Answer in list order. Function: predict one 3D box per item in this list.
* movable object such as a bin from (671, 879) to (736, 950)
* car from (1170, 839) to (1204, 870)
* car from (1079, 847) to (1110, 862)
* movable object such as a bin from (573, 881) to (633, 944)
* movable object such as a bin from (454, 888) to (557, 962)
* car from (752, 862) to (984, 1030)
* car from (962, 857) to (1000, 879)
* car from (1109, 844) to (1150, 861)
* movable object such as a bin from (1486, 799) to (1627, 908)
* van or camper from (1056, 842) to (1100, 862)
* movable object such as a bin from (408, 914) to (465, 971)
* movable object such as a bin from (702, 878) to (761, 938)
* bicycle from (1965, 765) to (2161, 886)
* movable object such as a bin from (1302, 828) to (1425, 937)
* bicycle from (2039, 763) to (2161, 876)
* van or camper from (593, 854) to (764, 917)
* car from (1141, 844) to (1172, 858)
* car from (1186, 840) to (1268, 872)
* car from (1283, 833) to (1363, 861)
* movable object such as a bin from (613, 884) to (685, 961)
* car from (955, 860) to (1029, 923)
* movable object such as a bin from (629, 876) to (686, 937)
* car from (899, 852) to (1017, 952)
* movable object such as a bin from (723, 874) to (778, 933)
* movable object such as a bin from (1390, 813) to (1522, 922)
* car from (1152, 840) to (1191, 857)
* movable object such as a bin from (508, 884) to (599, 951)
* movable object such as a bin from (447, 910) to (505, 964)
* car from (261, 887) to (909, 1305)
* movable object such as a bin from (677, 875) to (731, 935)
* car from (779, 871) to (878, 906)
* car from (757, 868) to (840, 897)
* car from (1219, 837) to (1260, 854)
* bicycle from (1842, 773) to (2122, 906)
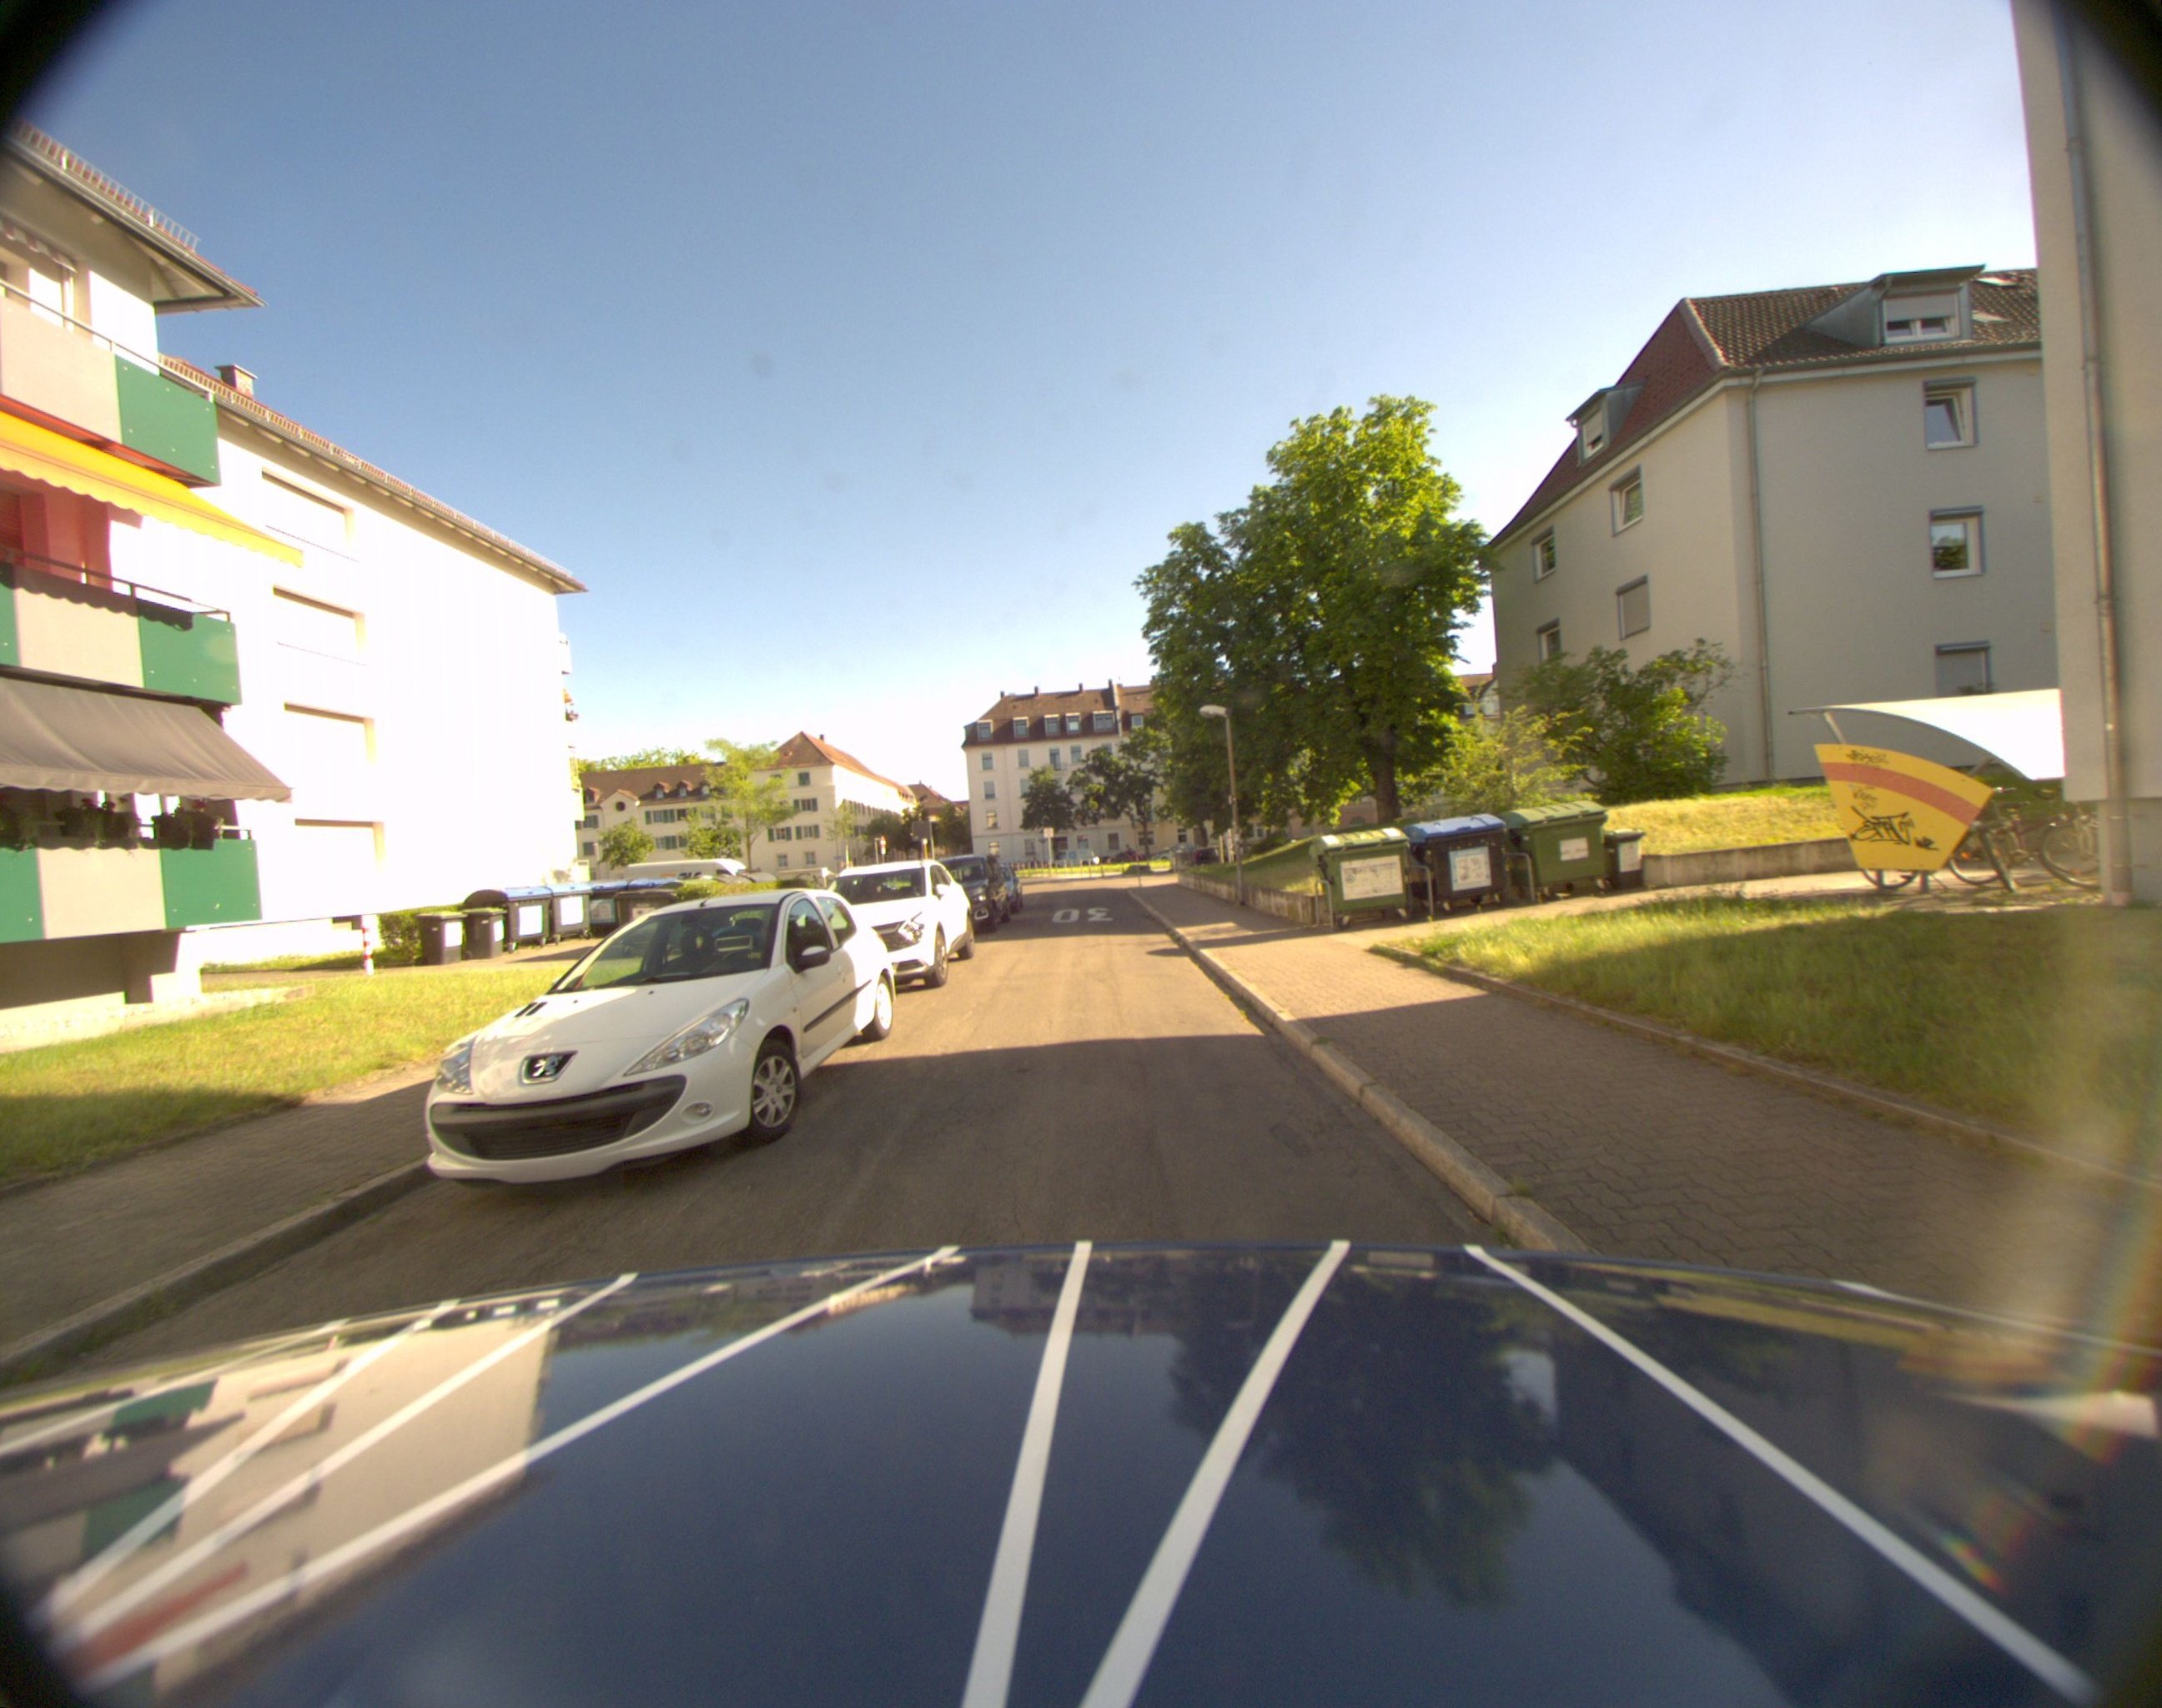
[{"bbox_3d":[-8.369,1.321,16.885,0.921,1.439,0.866,-4,1,-1],"label":"movable object such as a bin"},{"bbox_3d":[6.237,0.013,44.988,1.678,1.645,3.305,-3,1,5],"label":"car"},{"bbox_3d":[1.452,0.060,82.798,3.192,1.499,1.545,-3,1,0],"label":"car"},{"bbox_3d":[-12.289,1.492,19.561,0.866,1.511,0.922,-3,1,-1],"label":"movable object such as a bin"},{"bbox_3d":[-12.825,1.555,17.001,1.239,1.439,1.278,-3,1,-2],"label":"movable object such as a bin"},{"bbox_3d":[-2.609,1.033,10.582,1.805,1.583,4.581,-6,1,0],"label":"car"},{"bbox_3d":[-7.224,0.997,54.493,1.674,1.433,3.794,-4,1,-22],"label":"car"},{"bbox_3d":[4.904,-0.121,77.180,3.996,1.477,1.722,-3,1,2],"label":"car"},{"bbox_3d":[7.427,-0.011,11.942,1.363,1.445,1.072,-8,1,1],"label":"movable object such as a bin"},{"bbox_3d":[-0.357,-0.207,77.546,4.355,1.852,1.999,-3,1,-1],"label":"van or camper"},{"bbox_3d":[-12.836,1.750,15.145,0.628,1.047,0.580,-1,1,-2],"label":"movable object such as a bin"},{"bbox_3d":[-8.321,1.267,18.128,0.921,1.318,0.866,-4,1,-1],"label":"movable object such as a bin"},{"bbox_3d":[11.231,-0.313,8.347,0.641,1.211,2.009,-5,1,1],"label":"bicycle"},{"bbox_3d":[4.369,0.423,11.881,1.318,1.451,1.198,-8,1,1],"label":"movable object such as a bin"},{"bbox_3d":[11.940,-0.398,8.168,0.679,1.211,2.009,-5,1,1],"label":"bicycle"},{"bbox_3d":[-19.285,1.480,36.619,6.980,2.486,2.177,-3,1,2],"label":"van or camper"},{"bbox_3d":[8.211,-0.329,82.772,3.192,1.311,1.545,-3,1,0],"label":"car"},{"bbox_3d":[7.981,0.092,41.815,4.140,1.488,1.729,-3,1,1],"label":"car"},{"bbox_3d":[13.277,-0.376,41.841,3.863,1.266,1.630,-3,1,1],"label":"car"},{"bbox_3d":[-8.773,1.368,15.479,0.866,1.439,0.922,-3,1,-3],"label":"movable object such as a bin"},{"bbox_3d":[-2.645,1.069,23.411,1.728,1.528,3.951,-7,1,-1],"label":"car"},{"bbox_3d":[-10.807,1.315,19.423,0.866,1.439,0.922,-3,1,-3],"label":"movable object such as a bin"},{"bbox_3d":[-2.707,0.985,17.788,1.855,1.790,4.253,-8,1,0],"label":"car"},{"bbox_3d":[-8.379,1.235,19.308,0.921,1.390,0.866,-4,1,-1],"label":"movable object such as a bin"},{"bbox_3d":[5.847,0.203,11.935,1.358,1.451,1.082,-8,1,1],"label":"movable object such as a bin"},{"bbox_3d":[9.189,-0.554,77.109,3.787,1.437,1.625,-3,1,2],"label":"car"},{"bbox_3d":[-12.738,1.504,18.409,1.239,1.439,1.278,-3,1,-2],"label":"movable object such as a bin"},{"bbox_3d":[-12.608,1.730,15.857,0.718,1.047,0.580,-1,1,-2],"label":"movable object such as a bin"},{"bbox_3d":[-2.589,1.133,5.315,1.695,1.410,4.097,-7,1,0],"label":"car"},{"bbox_3d":[-9.695,1.288,19.565,0.866,1.439,0.922,-3,1,-3],"label":"movable object such as a bin"},{"bbox_3d":[-11.916,1.619,35.996,3.996,1.342,1.802,-3,1,2],"label":"car"},{"bbox_3d":[-15.747,1.598,42.491,3.996,1.342,1.521,-3,1,2],"label":"car"},{"bbox_3d":[16.108,-0.888,77.139,3.787,1.437,1.625,-3,1,2],"label":"car"},{"bbox_3d":[9.758,-0.147,8.384,0.641,1.243,2.009,-5,1,1],"label":"bicycle"}]
